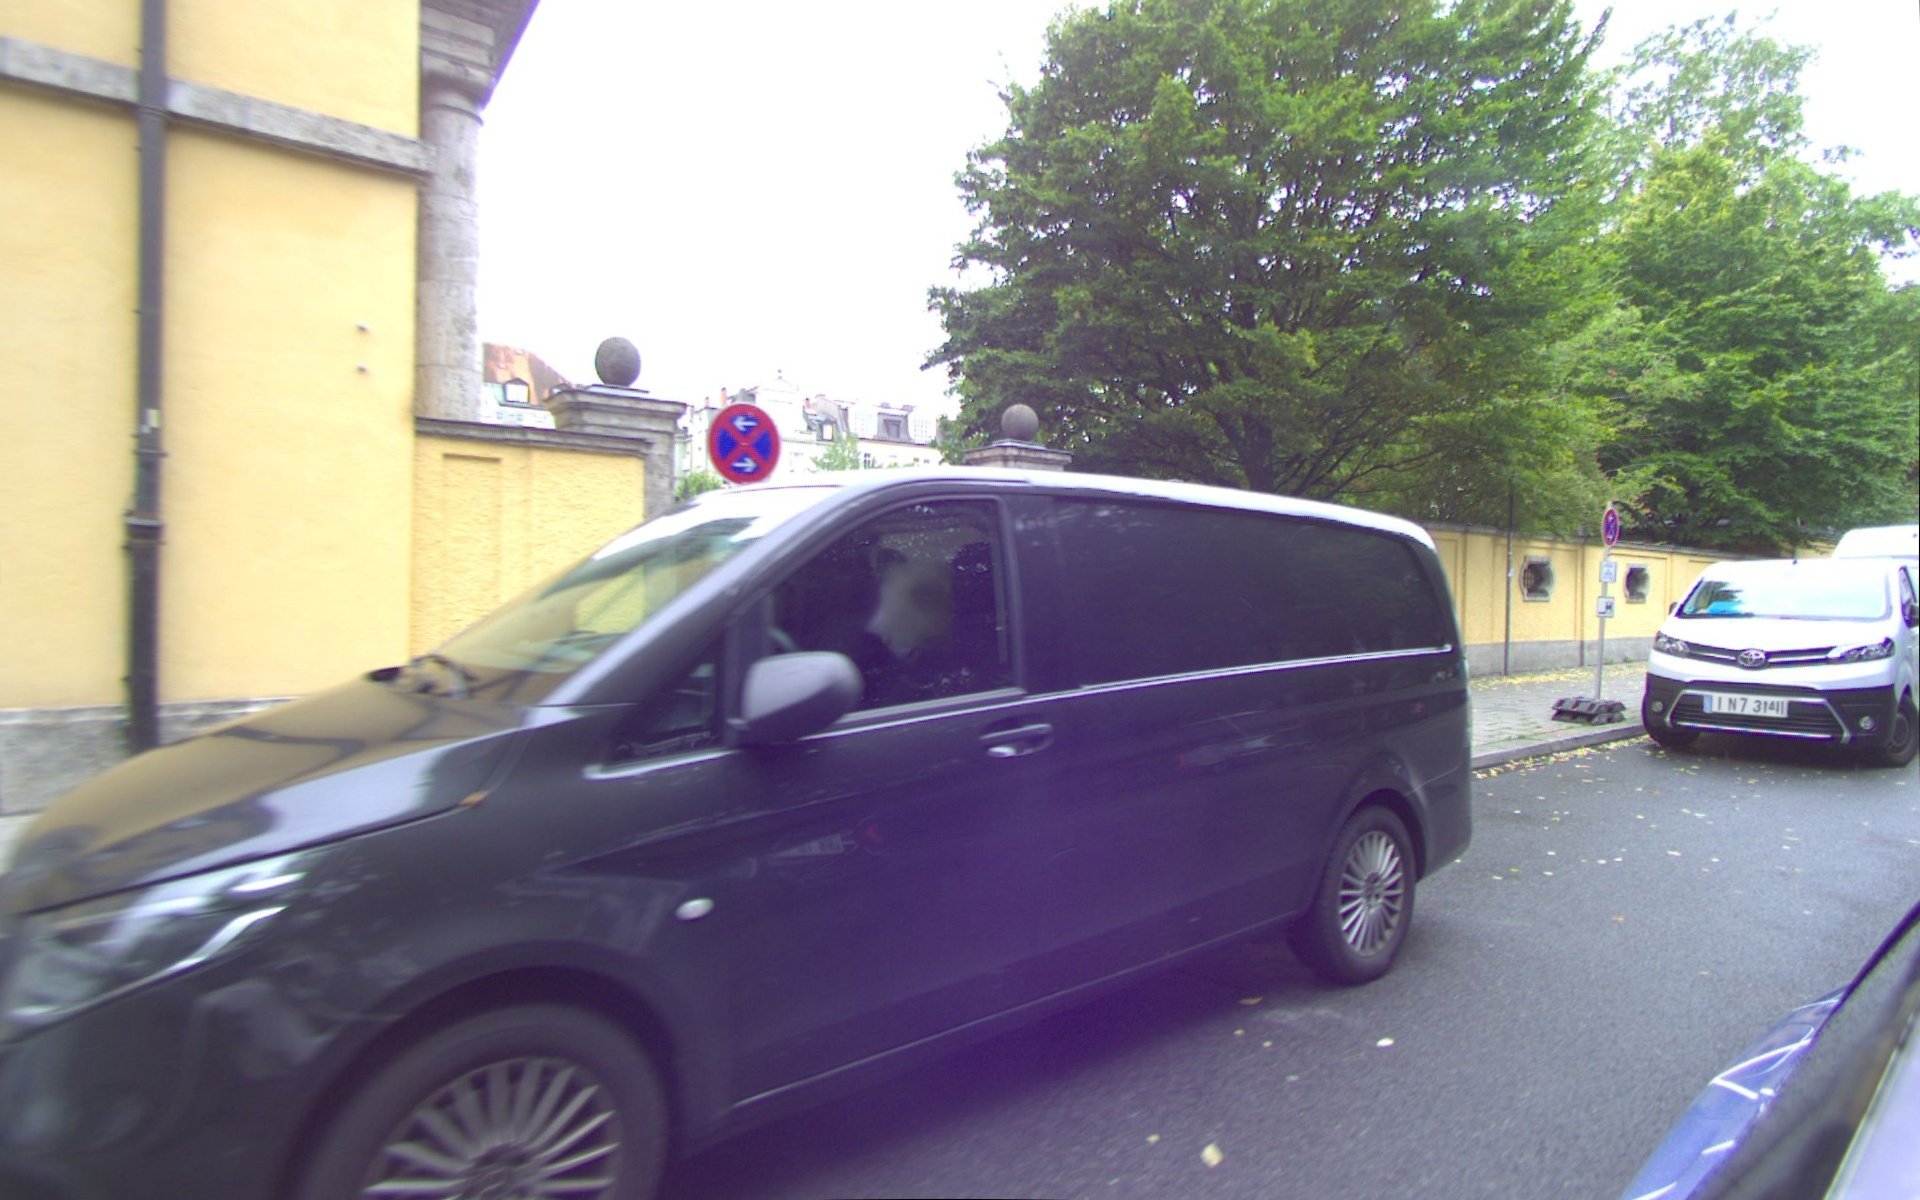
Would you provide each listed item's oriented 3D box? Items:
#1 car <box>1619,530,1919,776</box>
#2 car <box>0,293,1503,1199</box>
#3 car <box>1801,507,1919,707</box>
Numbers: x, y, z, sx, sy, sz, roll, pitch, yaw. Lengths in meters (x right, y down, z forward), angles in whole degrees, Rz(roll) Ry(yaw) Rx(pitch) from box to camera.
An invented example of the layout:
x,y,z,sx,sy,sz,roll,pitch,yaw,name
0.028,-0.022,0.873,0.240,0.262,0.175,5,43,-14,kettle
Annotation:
x,y,z,sx,sy,sz,roll,pitch,yaw,name
8.766,0.397,10.366,5.073,1.931,2.017,0,0,-40,car
-0.161,0.472,3.562,4.896,1.892,1.875,-1,1,-39,car
14.215,0.025,14.578,5.636,2.518,2.101,-2,2,-38,car
